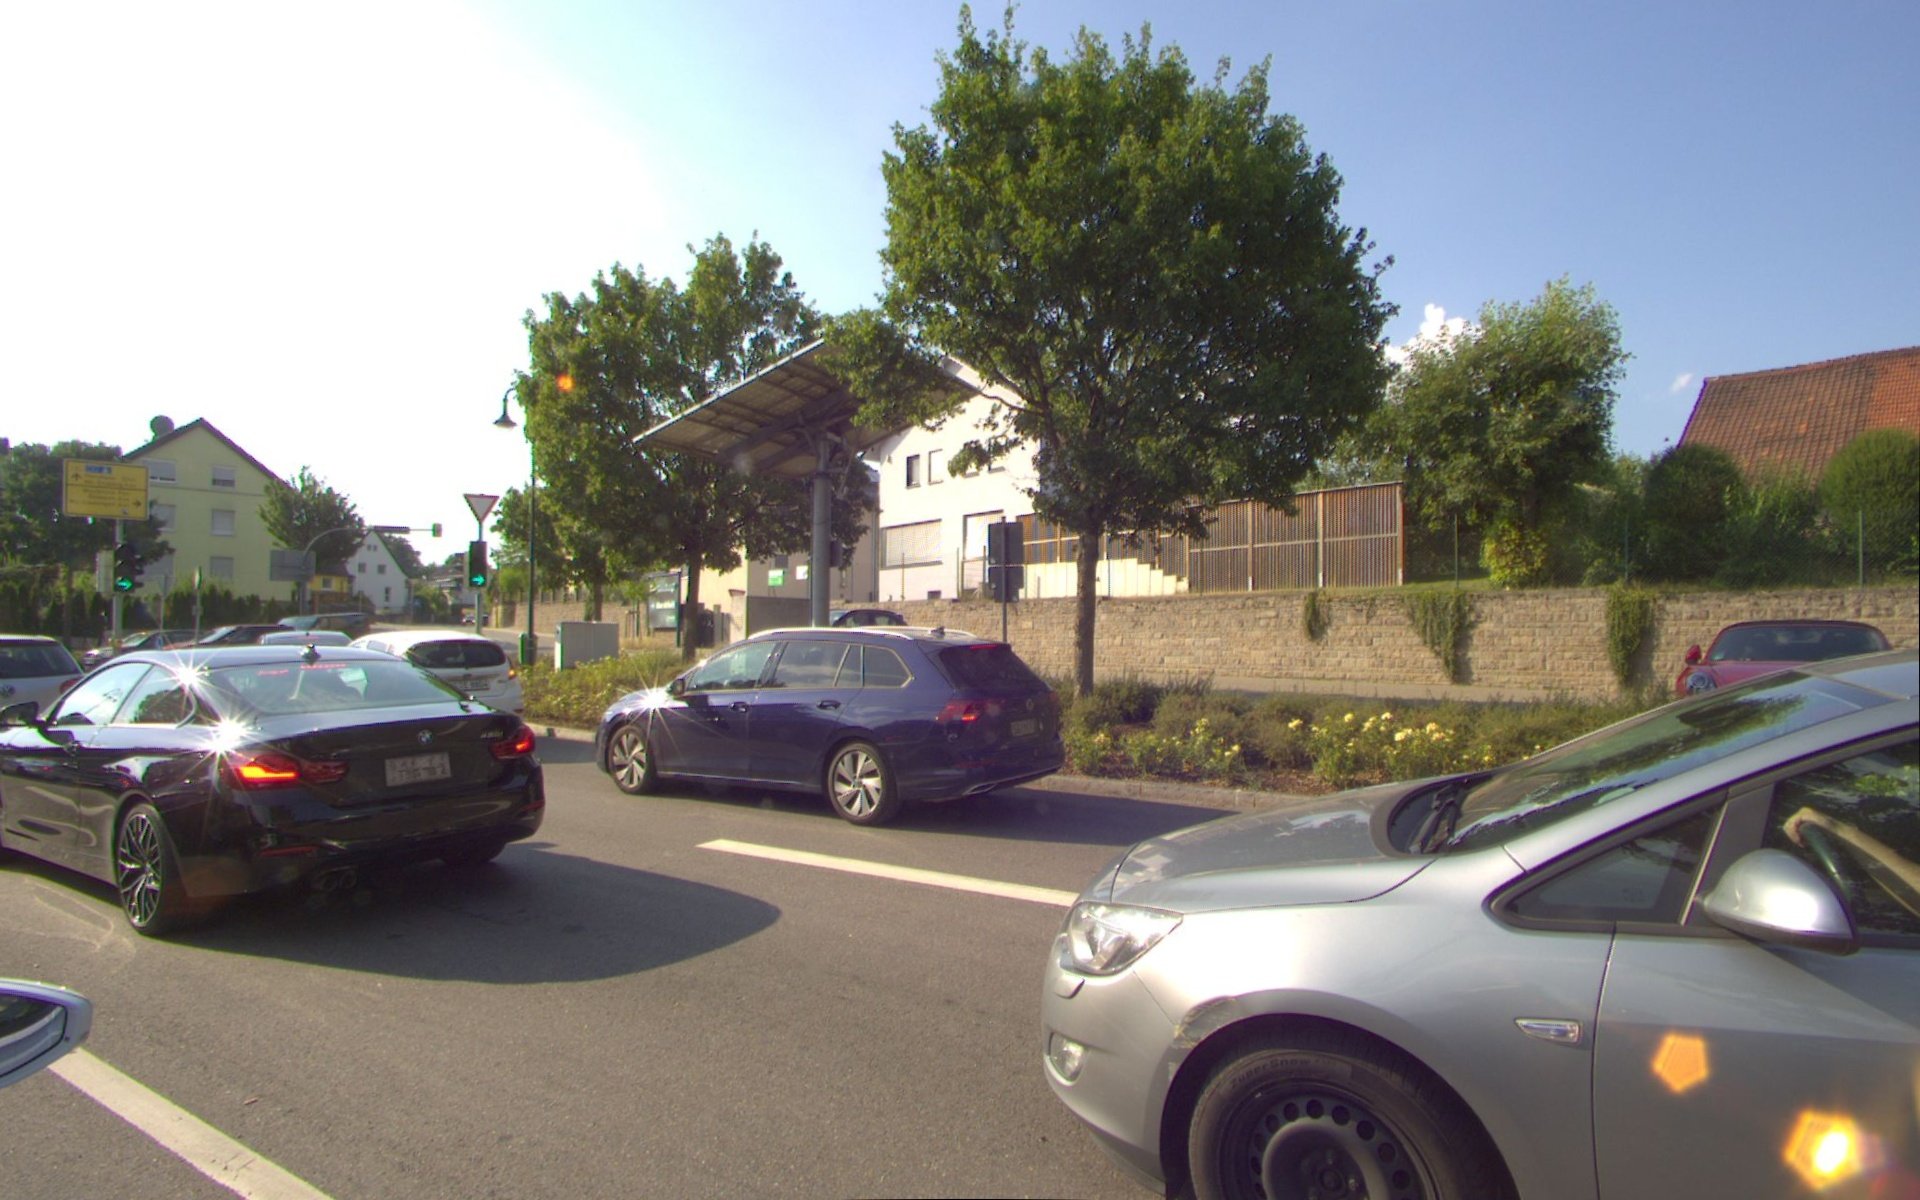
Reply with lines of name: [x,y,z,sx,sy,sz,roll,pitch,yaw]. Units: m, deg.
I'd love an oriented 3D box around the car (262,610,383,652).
car: [-28.514,1.387,45.015,1.813,1.761,4.784,0,-2,10]

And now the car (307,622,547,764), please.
car: [-6.915,1.081,12.894,3.278,1.562,1.611,-1,0,40]

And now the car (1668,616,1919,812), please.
car: [8.228,0.952,9.752,1.758,1.510,4.120,-1,-2,41]

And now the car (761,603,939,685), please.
car: [-2.375,0.961,22.305,1.758,1.653,3.800,-1,-2,40]

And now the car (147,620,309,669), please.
car: [-26.485,1.598,36.416,1.818,1.662,4.418,0,-2,25]

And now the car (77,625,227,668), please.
car: [-30.070,1.718,37.370,1.821,1.508,3.983,-1,-2,30]

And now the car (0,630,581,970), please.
car: [-4.432,0.914,6.193,4.220,1.416,1.758,-1,0,33]

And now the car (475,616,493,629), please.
car: [-64.173,3.001,135.088,1.939,1.701,4.202,0,-1,-23]

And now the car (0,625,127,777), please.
car: [-10.803,1.012,10.786,3.848,1.444,1.758,-1,0,33]

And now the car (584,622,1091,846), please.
car: [-1.173,0.948,8.648,4.259,1.472,1.757,-1,0,34]

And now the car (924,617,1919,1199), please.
car: [2.177,0.782,2.169,4.256,1.472,1.758,-1,0,31]

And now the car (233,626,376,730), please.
car: [-11.750,1.271,17.821,1.643,1.562,4.362,-1,0,-40]
